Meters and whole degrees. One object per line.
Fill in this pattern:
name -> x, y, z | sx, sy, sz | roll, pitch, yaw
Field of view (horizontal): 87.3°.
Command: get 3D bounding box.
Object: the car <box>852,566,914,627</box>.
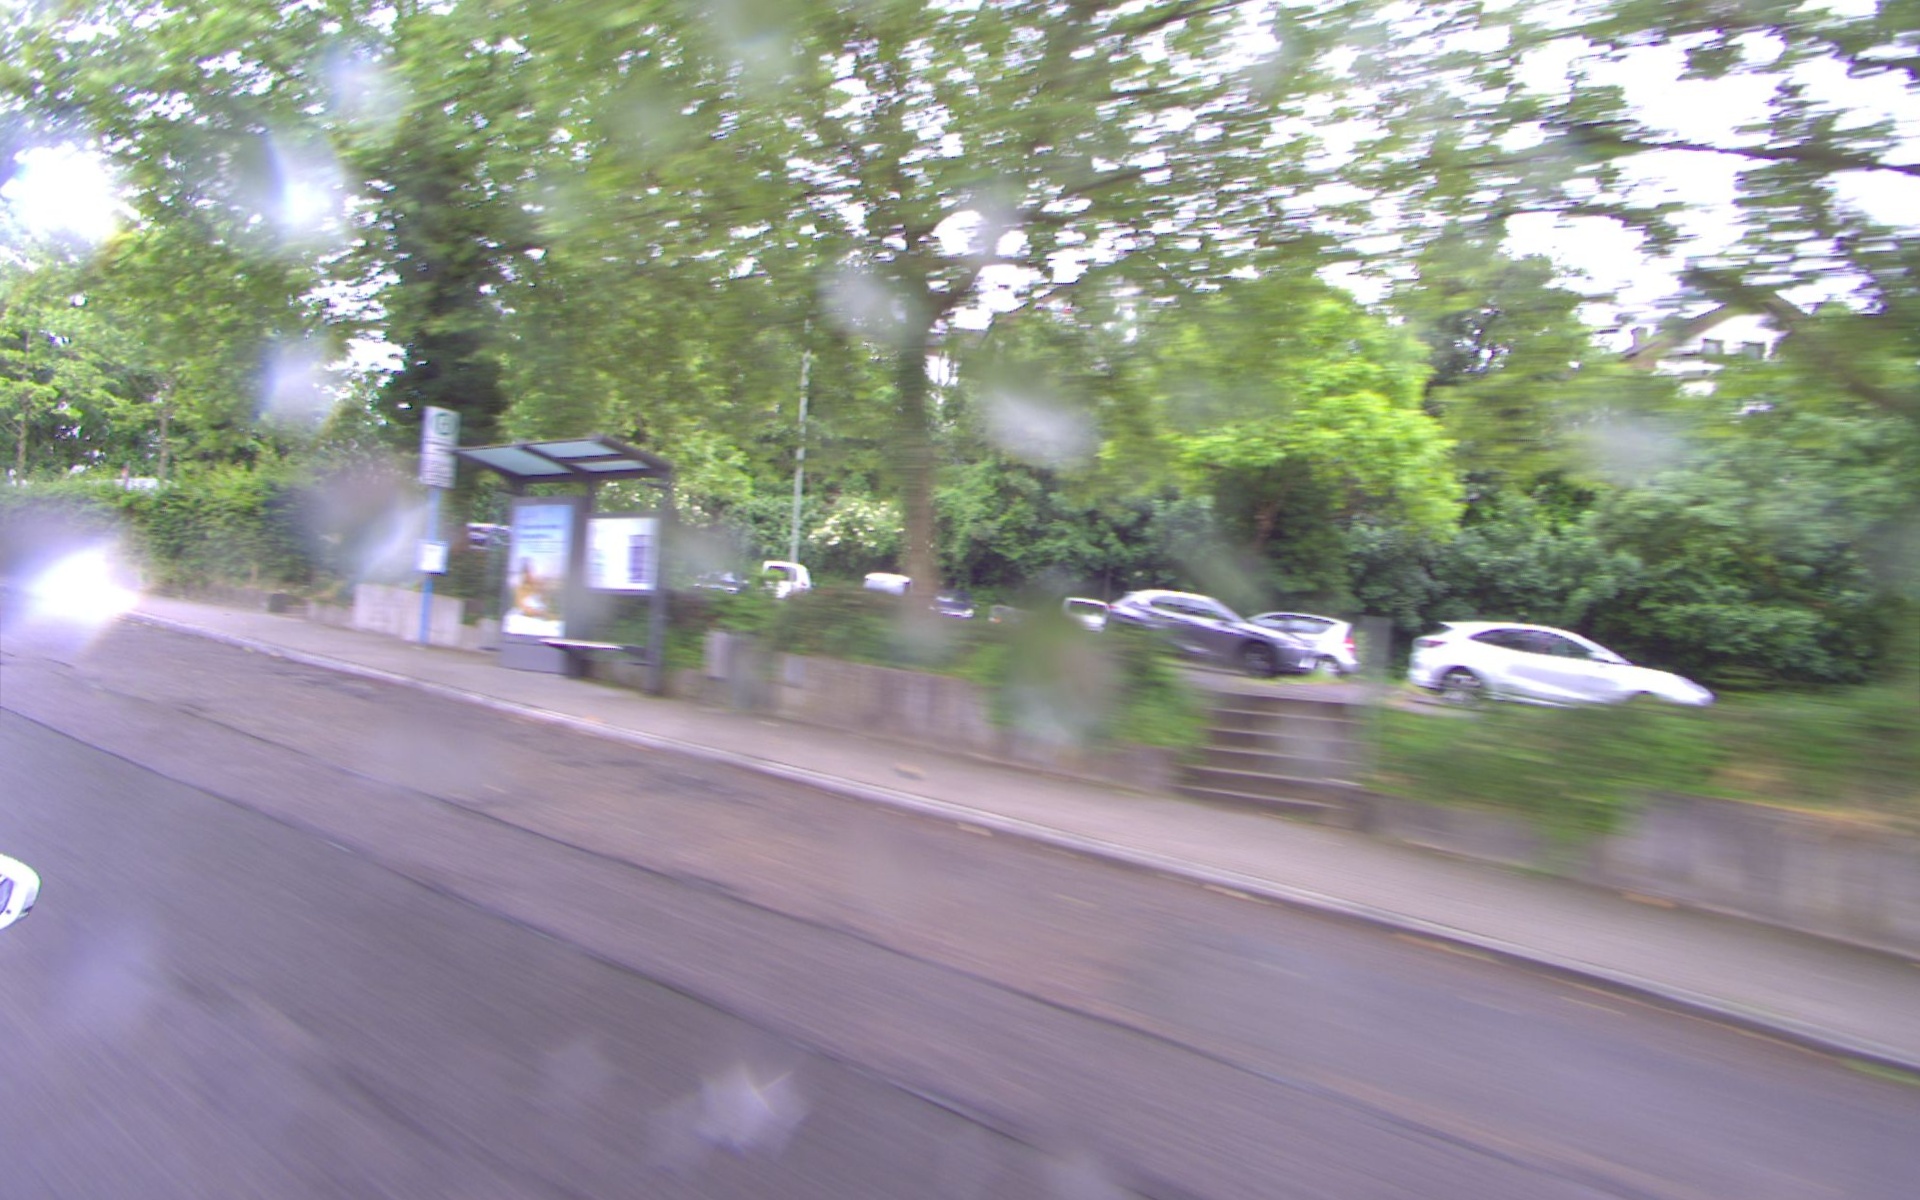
car -> -2.863, -0.077, 38.100 | 1.771, 1.788, 4.184 | 9, -3, 0

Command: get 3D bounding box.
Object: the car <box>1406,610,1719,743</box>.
car -> 9.772, 1.267, 16.710 | 4.098, 1.468, 1.902 | 8, -3, 27

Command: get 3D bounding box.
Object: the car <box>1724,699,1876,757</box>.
car -> 29.428, 4.467, 35.356 | 3.640, 1.335, 1.708 | 9, -2, 9

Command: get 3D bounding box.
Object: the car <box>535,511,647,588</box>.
car -> -13.548, -1.776, 37.334 | 1.962, 2.035, 5.209 | 9, -3, 0

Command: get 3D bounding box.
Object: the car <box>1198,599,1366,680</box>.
car -> 7.999, 0.983, 24.978 | 3.712, 1.349, 1.744 | 8, -3, 23

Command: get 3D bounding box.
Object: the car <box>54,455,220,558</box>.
car -> -23.342, -2.655, 28.528 | 4.061, 2.252, 1.999 | 8, -1, 27

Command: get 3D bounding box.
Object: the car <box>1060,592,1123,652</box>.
car -> 4.825, 0.884, 37.491 | 1.770, 1.788, 4.186 | 9, -3, 4

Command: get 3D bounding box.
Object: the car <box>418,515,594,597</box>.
car -> -11.482, -1.117, 25.417 | 4.098, 1.603, 1.823 | 7, 1, 27

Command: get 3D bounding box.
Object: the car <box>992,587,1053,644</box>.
car -> 2.250, 0.642, 37.325 | 1.771, 1.683, 4.184 | 9, -3, 0

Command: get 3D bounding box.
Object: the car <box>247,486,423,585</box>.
car -> -19.558, -2.013, 31.462 | 4.927, 2.310, 2.052 | 8, -2, 24

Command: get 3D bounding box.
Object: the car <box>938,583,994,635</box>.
car -> 0.214, 0.393, 37.348 | 1.771, 1.493, 4.184 | 9, -3, 0

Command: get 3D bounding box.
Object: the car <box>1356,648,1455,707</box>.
car -> 16.410, 2.832, 37.306 | 1.770, 1.788, 4.186 | 9, -3, 4

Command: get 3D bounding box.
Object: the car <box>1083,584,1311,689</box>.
car -> 4.894, 0.746, 20.836 | 4.099, 1.468, 1.901 | 8, -3, 29

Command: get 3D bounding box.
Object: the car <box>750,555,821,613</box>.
car -> -6.642, -0.566, 38.648 | 1.771, 1.683, 4.184 | 9, -3, 0

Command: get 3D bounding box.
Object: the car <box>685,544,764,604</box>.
car -> -8.860, -0.919, 38.227 | 1.771, 1.683, 4.184 | 9, -3, 0
